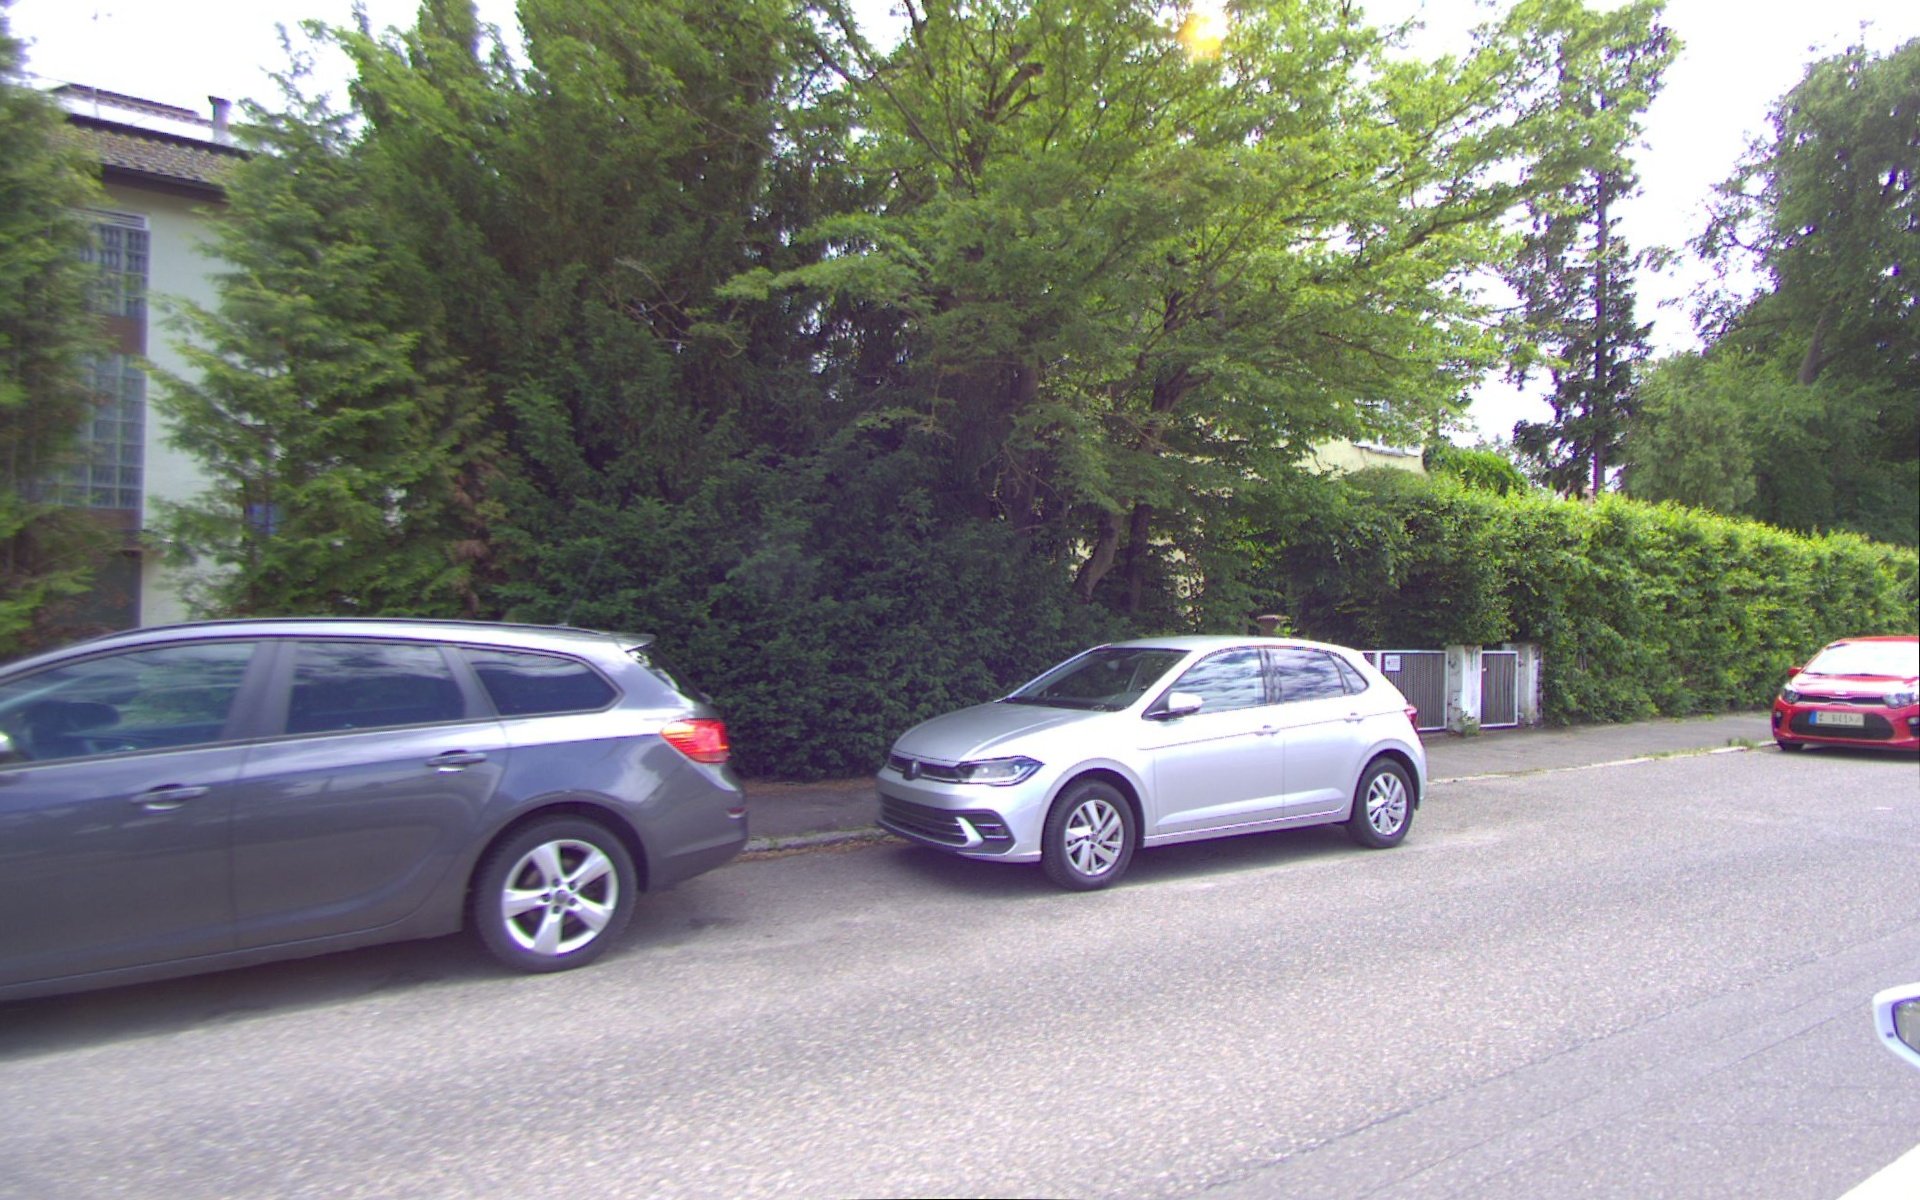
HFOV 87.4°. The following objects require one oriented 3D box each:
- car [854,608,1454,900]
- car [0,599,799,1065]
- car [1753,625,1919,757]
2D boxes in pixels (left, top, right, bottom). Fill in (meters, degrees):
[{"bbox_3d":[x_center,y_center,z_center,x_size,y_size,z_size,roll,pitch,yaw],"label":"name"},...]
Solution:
[{"bbox_3d":[1.405,0.879,6.983,3.914,1.524,1.729,1,-3,-29],"label":"car"},{"bbox_3d":[-3.091,0.804,4.351,4.426,1.524,1.728,2,-3,-31],"label":"car"},{"bbox_3d":[12.238,1.123,13.241,3.472,1.524,1.582,1,-2,-29],"label":"car"}]
